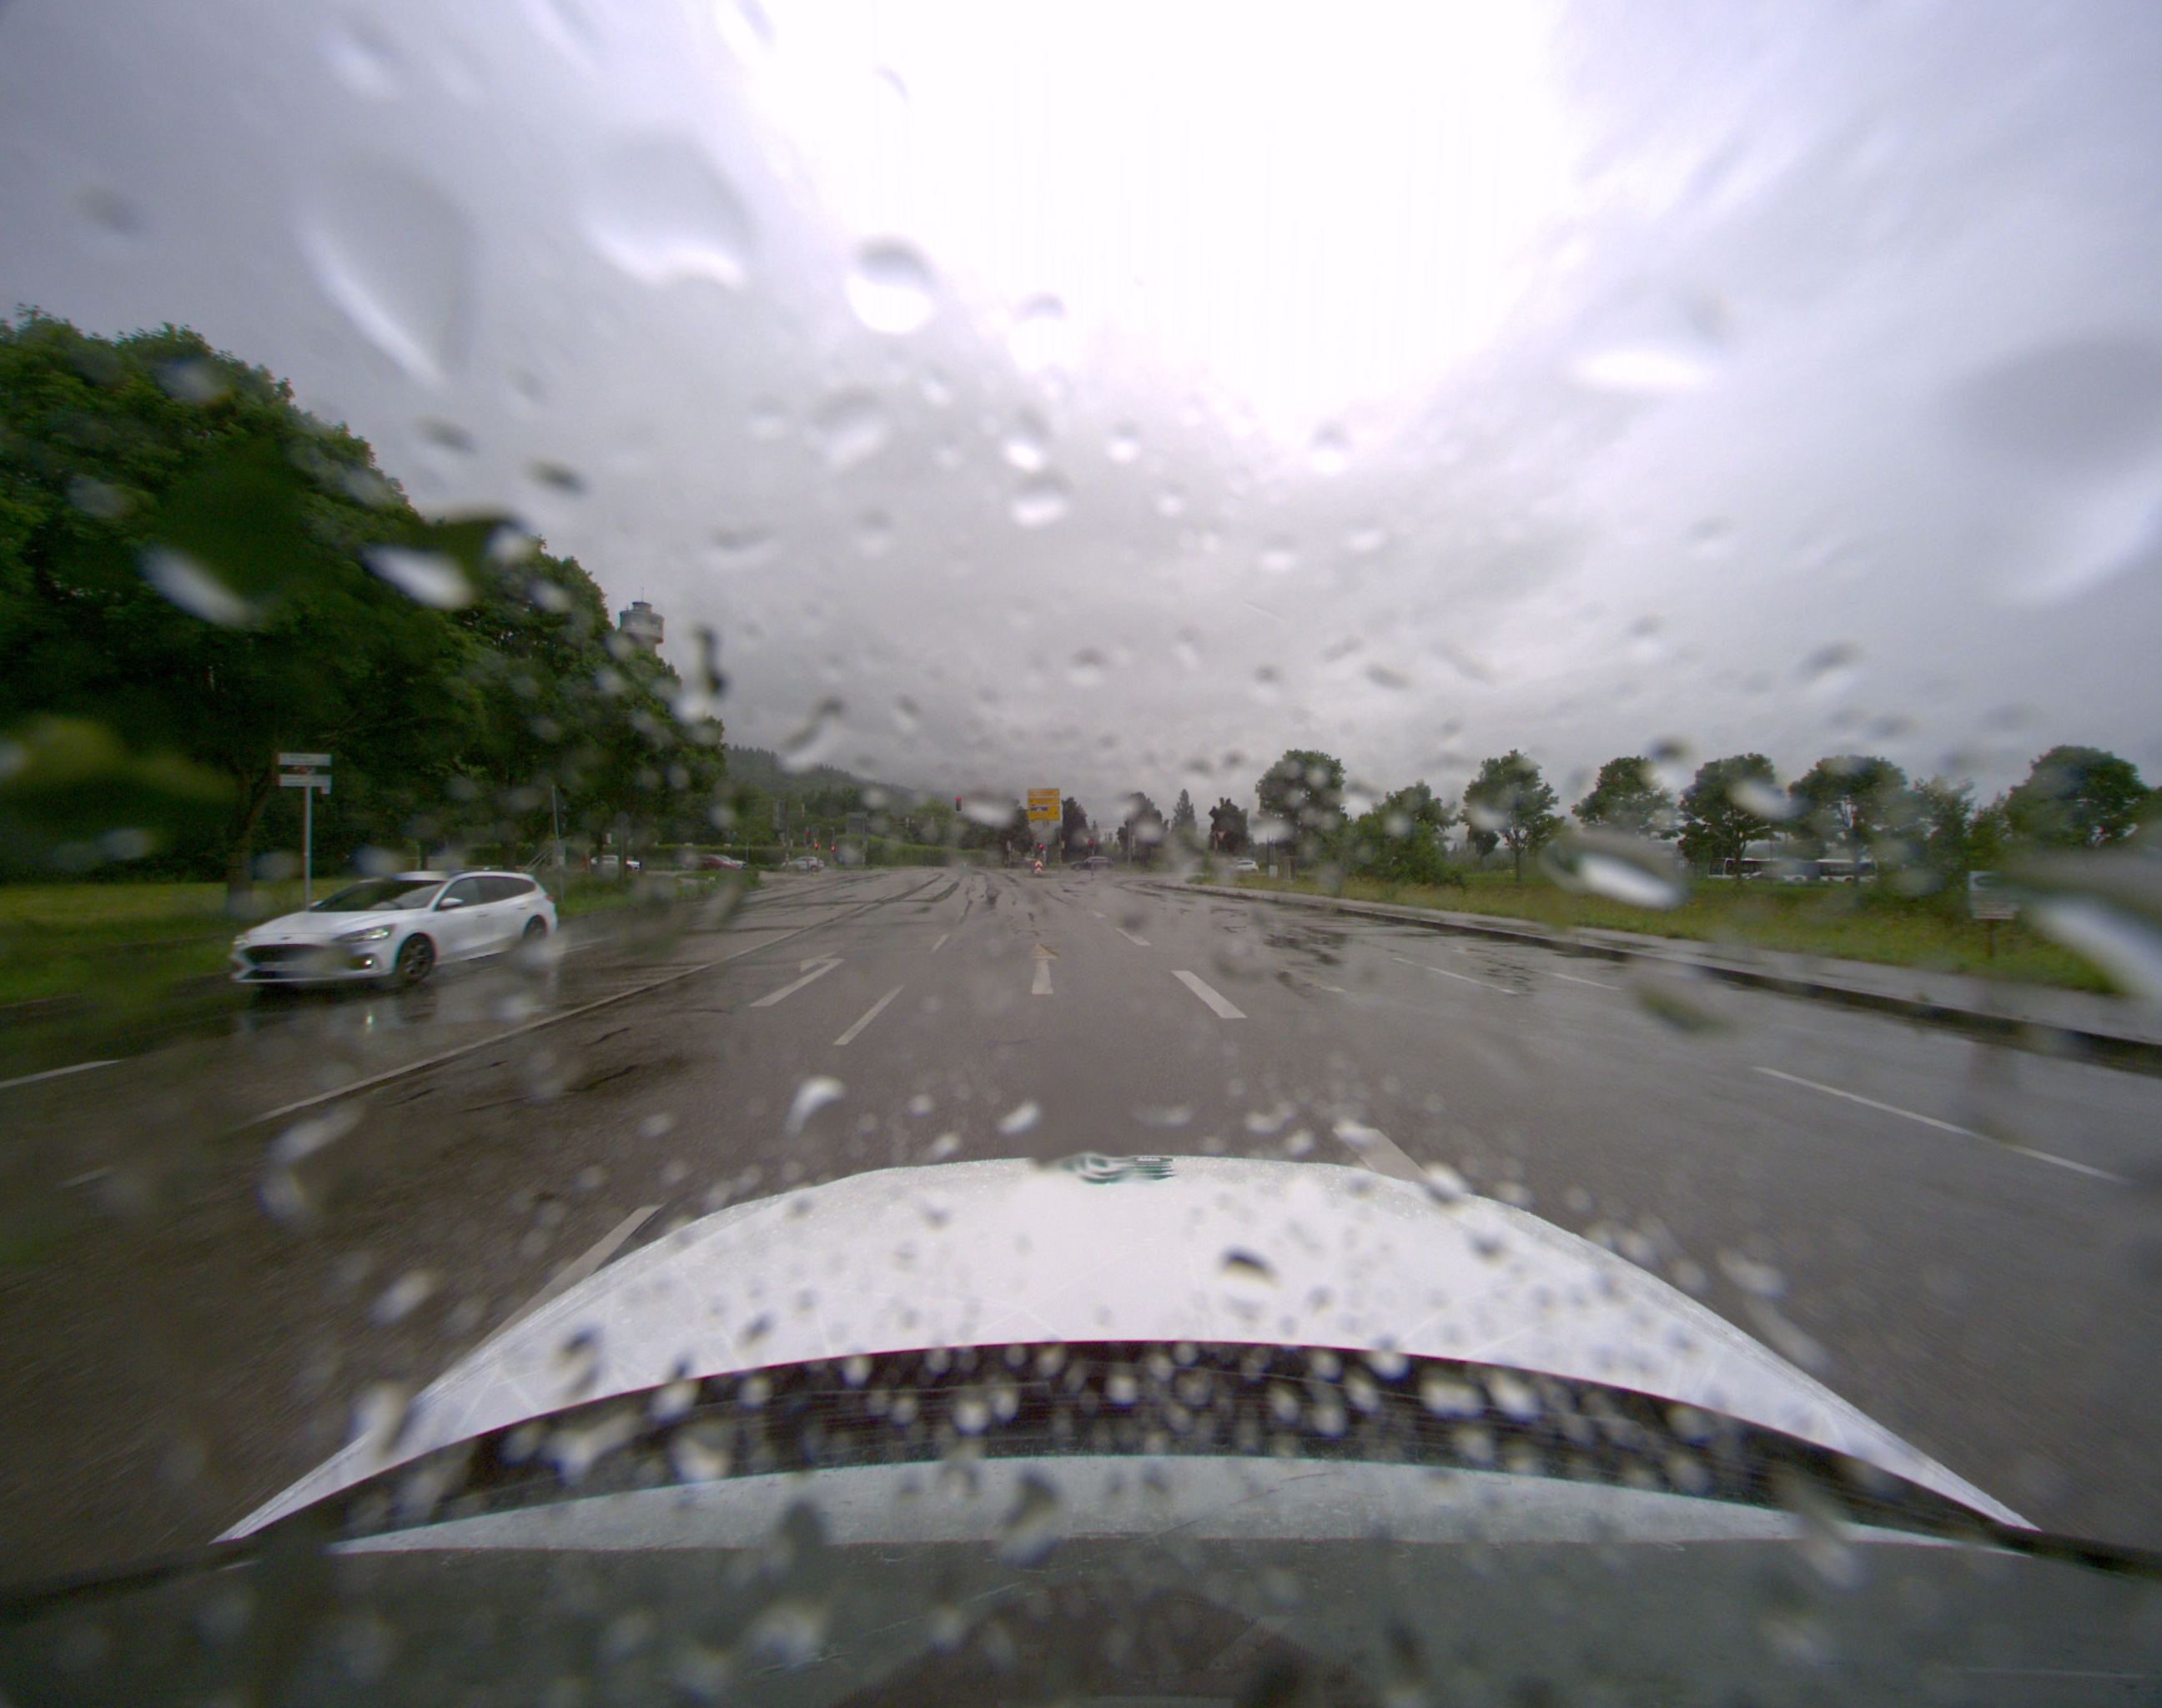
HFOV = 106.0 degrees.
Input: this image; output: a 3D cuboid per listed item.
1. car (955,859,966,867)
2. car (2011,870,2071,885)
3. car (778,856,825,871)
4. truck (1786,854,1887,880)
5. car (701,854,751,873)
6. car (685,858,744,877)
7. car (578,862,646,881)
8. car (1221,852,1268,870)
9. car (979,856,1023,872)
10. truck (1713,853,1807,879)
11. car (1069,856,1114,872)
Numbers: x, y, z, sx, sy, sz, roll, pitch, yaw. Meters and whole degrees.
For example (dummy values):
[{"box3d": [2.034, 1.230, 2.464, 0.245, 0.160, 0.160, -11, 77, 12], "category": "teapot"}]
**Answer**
[{"box3d": [-27.543, 2.077, 186.292, 1.875, 1.573, 4.639, -2, 0, -3], "category": "car"}, {"box3d": [105.898, 2.610, 89.882, 4.658, 1.553, 1.821, 1, -1, -3], "category": "car"}, {"box3d": [-29.335, 0.973, 85.550, 4.374, 1.579, 1.727, 0, 0, -9], "category": "car"}, {"box3d": [86.715, 1.495, 93.516, 9.295, 2.772, 2.654, 1, 0, -2], "category": "truck"}, {"box3d": [-32.485, 0.884, 74.513, 3.789, 1.711, 1.746, 0, 0, 0], "category": "car"}, {"box3d": [-31.878, 1.197, 70.869, 4.361, 1.579, 1.732, 0, 0, -1], "category": "car"}, {"box3d": [-40.514, 1.484, 70.415, 4.867, 1.553, 1.799, 0, 0, -1], "category": "car"}, {"box3d": [17.631, 0.725, 87.994, 4.657, 1.915, 1.914, 0, 0, -2], "category": "car"}, {"box3d": [-8.822, 1.074, 89.889, 4.661, 1.553, 1.820, -2, 0, -5], "category": "car"}, {"box3d": [77.669, 1.323, 93.232, 8.794, 2.832, 2.654, 1, 0, -2], "category": "truck"}, {"box3d": [1.133, 1.068, 87.173, 4.661, 1.639, 1.820, 0, 0, -5], "category": "car"}]
